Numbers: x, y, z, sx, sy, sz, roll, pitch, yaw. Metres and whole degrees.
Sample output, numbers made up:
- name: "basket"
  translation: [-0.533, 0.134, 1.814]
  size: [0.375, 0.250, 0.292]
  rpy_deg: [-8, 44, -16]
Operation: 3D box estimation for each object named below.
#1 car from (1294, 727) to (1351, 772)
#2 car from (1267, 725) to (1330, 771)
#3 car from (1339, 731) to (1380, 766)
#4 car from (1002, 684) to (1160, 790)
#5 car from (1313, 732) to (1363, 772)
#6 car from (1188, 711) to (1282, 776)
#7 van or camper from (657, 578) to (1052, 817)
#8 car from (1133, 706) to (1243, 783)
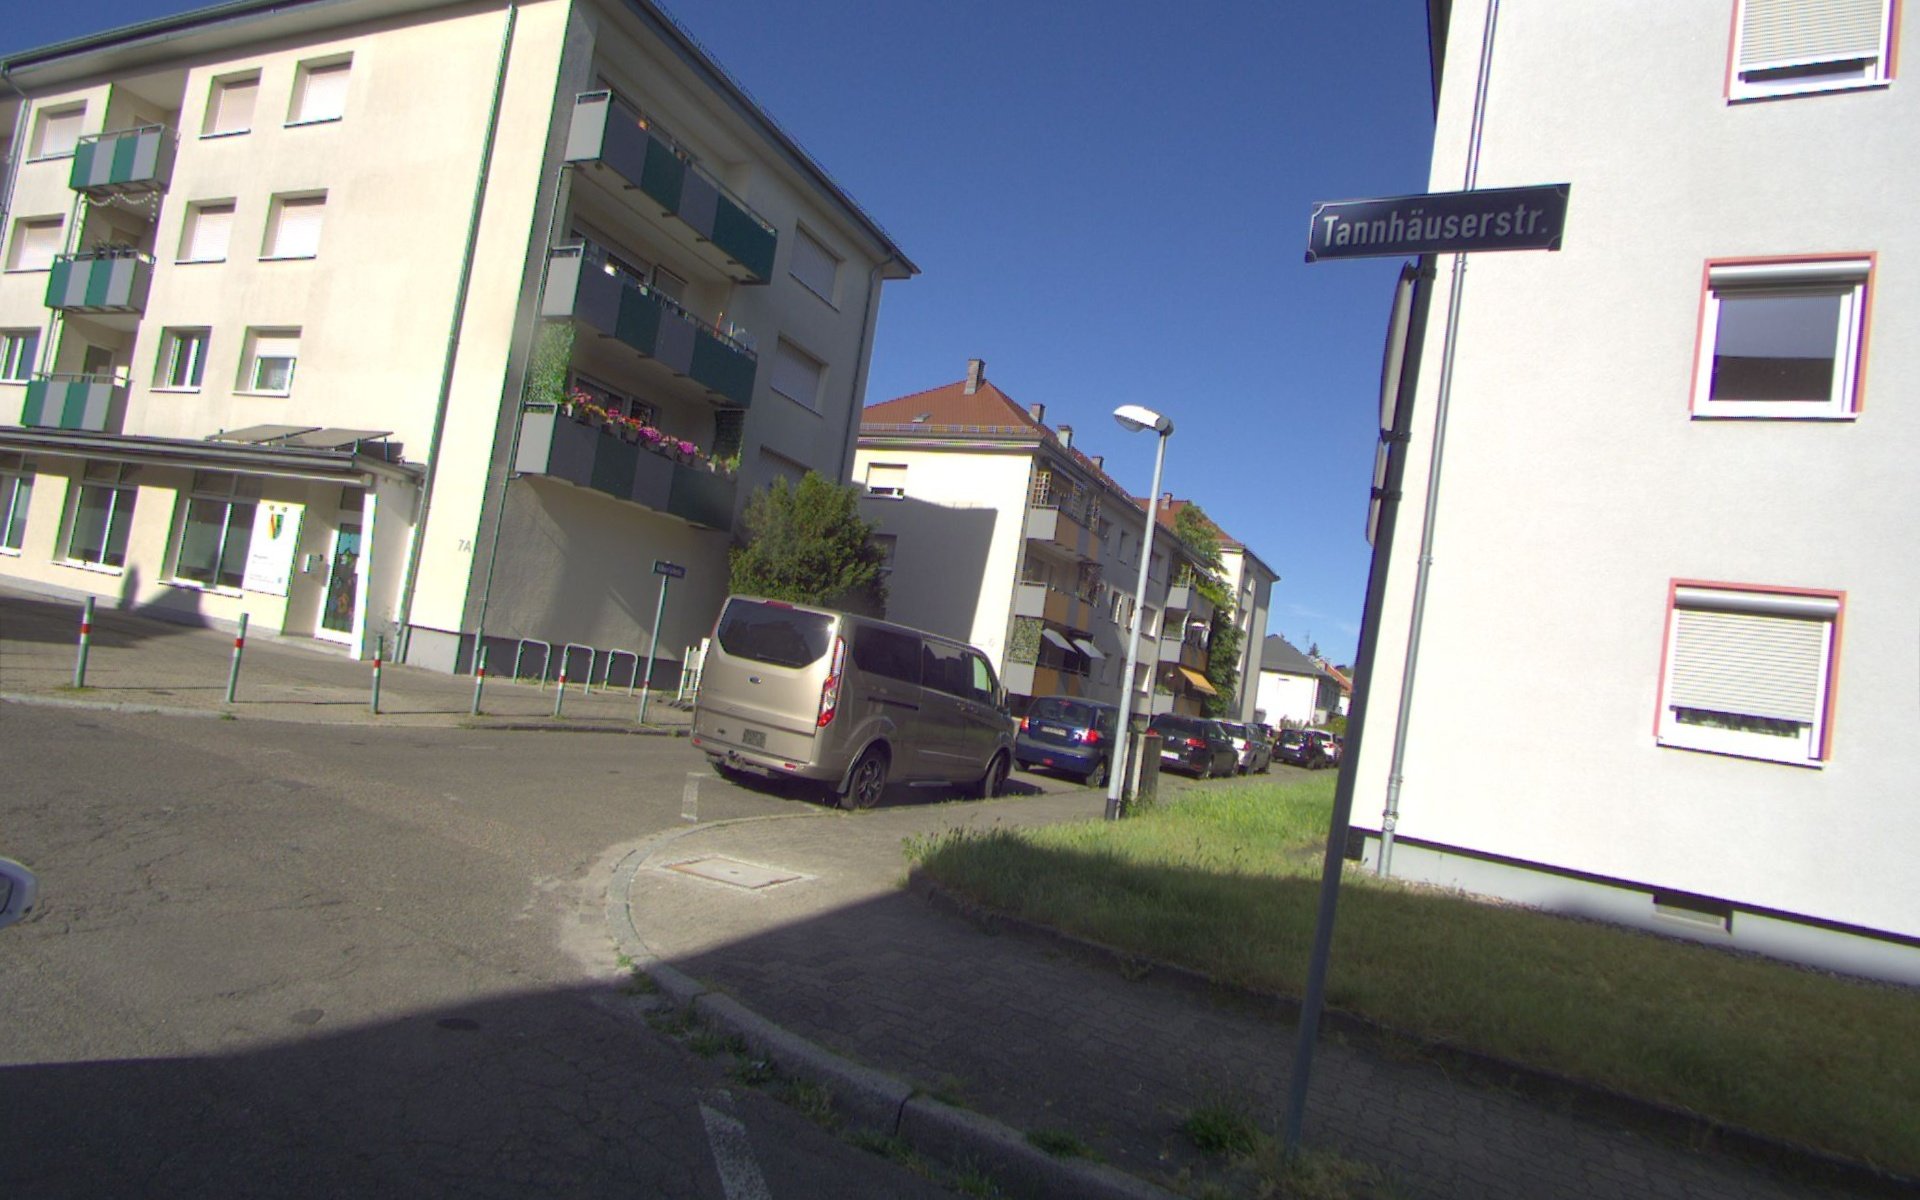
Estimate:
- name: "car"
  translation: [16.182, 6.669, 44.789]
  size: [1.651, 1.590, 4.083]
  rpy_deg: [9, -3, 28]
- name: "car"
  translation: [13.791, 6.019, 40.879]
  size: [1.651, 1.470, 4.083]
  rpy_deg: [9, -4, 28]
- name: "car"
  translation: [24.149, 8.963, 60.756]
  size: [1.710, 1.712, 4.247]
  rpy_deg: [9, -3, 28]
- name: "car"
  translation: [2.344, 2.548, 18.712]
  size: [1.651, 1.546, 3.488]
  rpy_deg: [7, -5, 28]
- name: "car"
  translation: [18.730, 7.508, 49.752]
  size: [1.651, 1.590, 4.247]
  rpy_deg: [9, -3, 28]
- name: "car"
  translation: [8.104, 4.210, 29.443]
  size: [1.651, 1.470, 4.083]
  rpy_deg: [9, -4, 28]
- name: "van or camper"
  translation: [-0.921, 1.273, 12.209]
  size: [1.965, 2.034, 5.144]
  rpy_deg: [9, -4, 29]
- name: "car"
  translation: [5.695, 3.575, 24.859]
  size: [1.651, 1.470, 3.488]
  rpy_deg: [9, -3, 28]
